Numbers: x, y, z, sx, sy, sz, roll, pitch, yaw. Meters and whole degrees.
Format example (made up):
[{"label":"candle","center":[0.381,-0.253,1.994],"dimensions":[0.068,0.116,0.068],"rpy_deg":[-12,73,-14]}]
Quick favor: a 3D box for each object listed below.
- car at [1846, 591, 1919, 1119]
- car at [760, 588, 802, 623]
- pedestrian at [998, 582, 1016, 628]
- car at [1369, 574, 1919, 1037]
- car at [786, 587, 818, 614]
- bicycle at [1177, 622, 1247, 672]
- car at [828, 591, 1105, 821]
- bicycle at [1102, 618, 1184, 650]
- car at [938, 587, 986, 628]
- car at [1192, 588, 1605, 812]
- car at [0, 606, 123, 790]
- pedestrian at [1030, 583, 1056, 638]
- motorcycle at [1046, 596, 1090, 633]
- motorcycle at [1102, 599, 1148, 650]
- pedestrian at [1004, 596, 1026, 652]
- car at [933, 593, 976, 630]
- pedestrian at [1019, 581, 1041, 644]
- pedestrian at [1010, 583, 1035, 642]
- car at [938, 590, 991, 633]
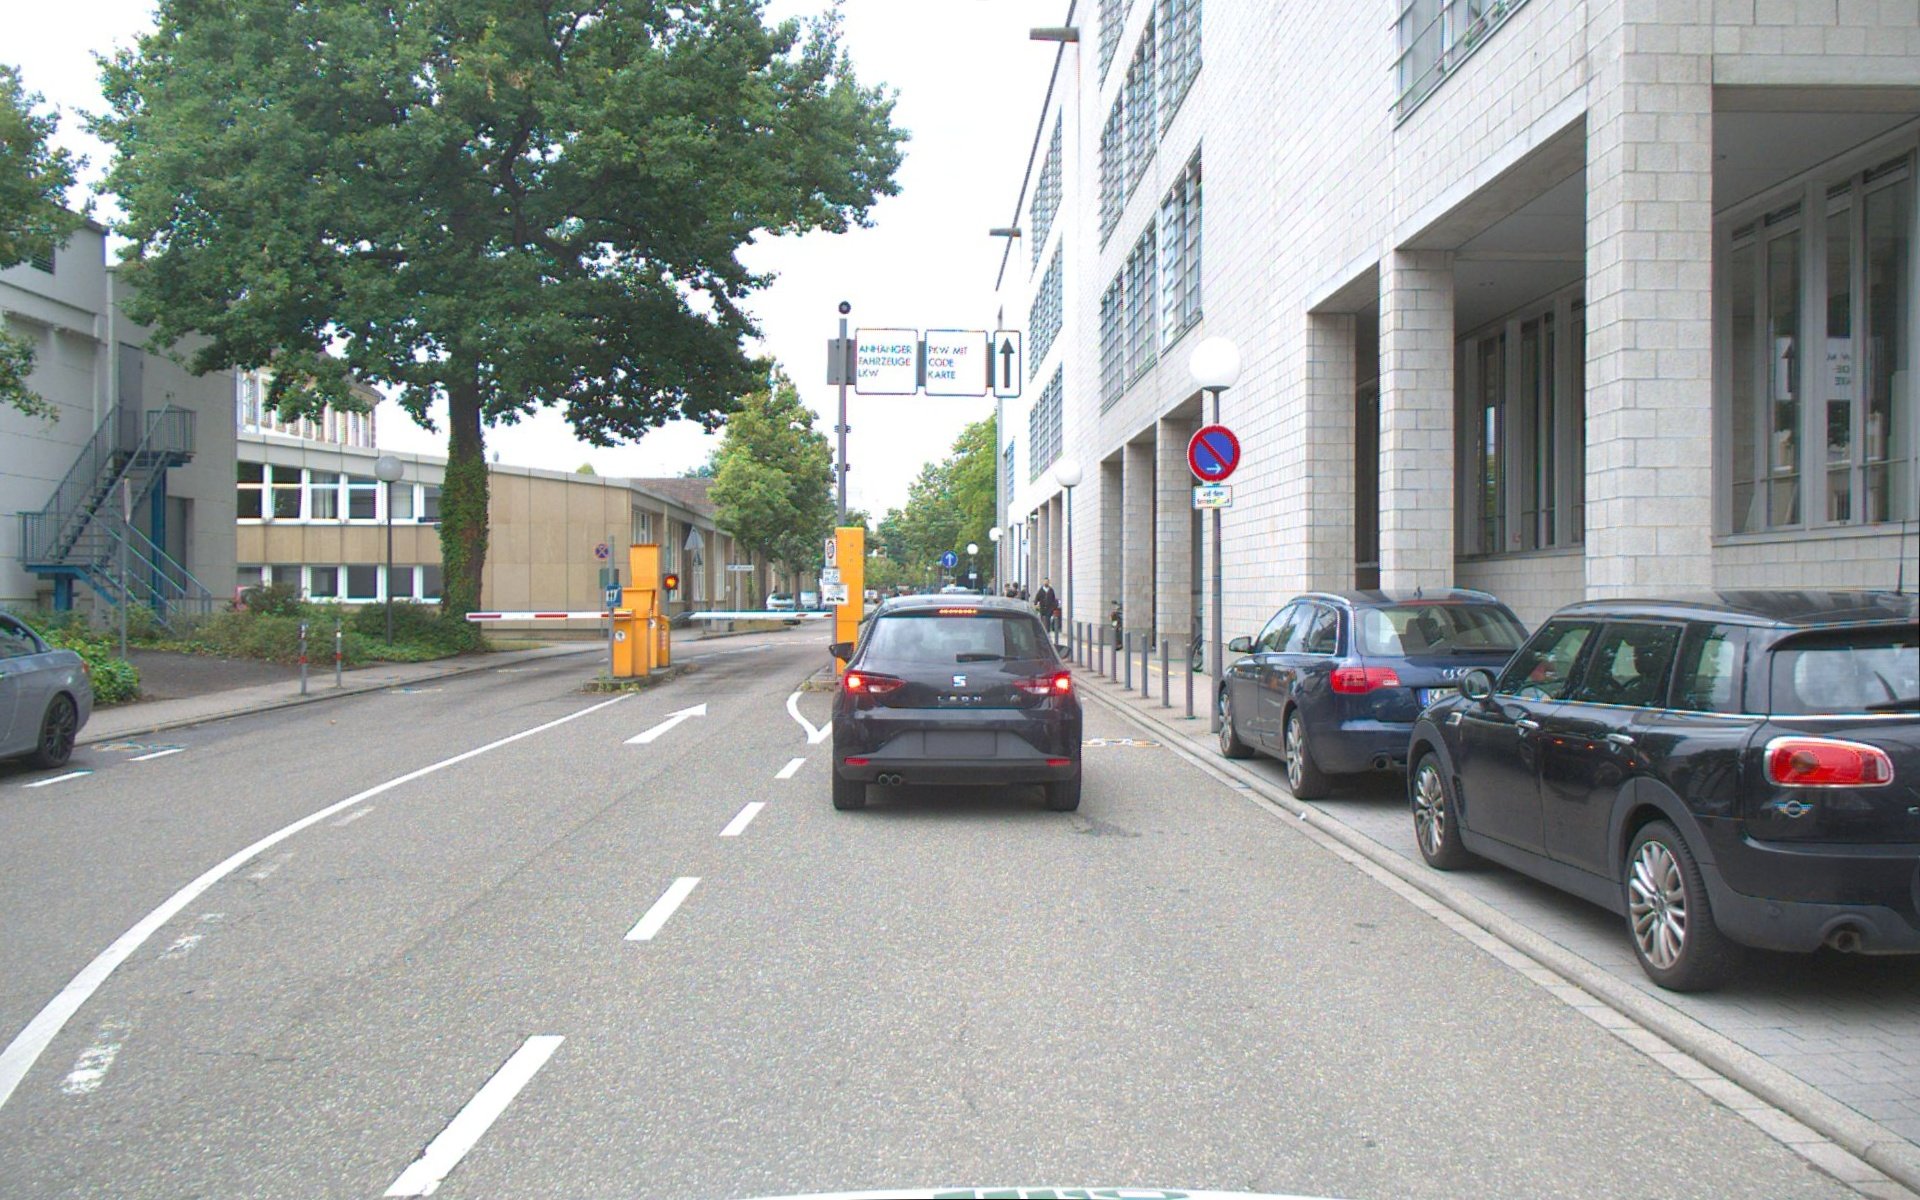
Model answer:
[{"label":"car","center":[3.602,0.774,2.795],"dimensions":[1.810,1.467,4.419],"rpy_deg":[0,2,-1]},{"label":"car","center":[-8.612,0.262,79.713],"dimensions":[1.735,1.629,3.998],"rpy_deg":[0,0,-3]},{"label":"pedestrian","center":[1.799,0.199,62.976],"dimensions":[0.682,1.744,0.489],"rpy_deg":[0,0,2]},{"label":"car","center":[3.453,0.646,7.682],"dimensions":[1.781,1.468,4.518],"rpy_deg":[-2,0,-3]},{"label":"car","center":[-9.792,0.031,102.470],"dimensions":[1.734,1.629,3.998],"rpy_deg":[0,0,-2]},{"label":"bicycle","center":[4.489,0.820,29.374],"dimensions":[0.453,0.764,2.292],"rpy_deg":[-4,-1,28]},{"label":"car","center":[-0.030,0.659,12.533],"dimensions":[1.746,1.444,4.128],"rpy_deg":[0,0,-2]},{"label":"bicycle","center":[4.367,0.816,39.480],"dimensions":[1.860,0.711,0.492],"rpy_deg":[1,2,-6]},{"label":"car","center":[0.043,0.314,72.515],"dimensions":[1.953,1.651,4.427],"rpy_deg":[-2,0,-2]},{"label":"car","center":[3.279,0.667,13.514],"dimensions":[1.953,1.477,4.921],"rpy_deg":[0,0,-2]},{"label":"car","center":[-8.413,0.778,12.977],"dimensions":[1.782,1.413,4.191],"rpy_deg":[0,0,-4]},{"label":"pedestrian","center":[2.676,0.327,53.129],"dimensions":[0.714,1.728,0.587],"rpy_deg":[1,2,-7]},{"label":"motorcycle","center":[3.877,0.509,59.235],"dimensions":[0.744,1.168,2.662],"rpy_deg":[2,3,22]},{"label":"motorcycle","center":[4.267,0.613,42.655],"dimensions":[0.554,1.168,2.217],"rpy_deg":[2,3,22]},{"label":"pedestrian","center":[1.724,0.751,52.035],"dimensions":[0.675,1.728,0.588],"rpy_deg":[1,2,1]},{"label":"car","center":[-0.307,0.562,84.120],"dimensions":[1.953,1.813,4.426],"rpy_deg":[-2,0,-2]},{"label":"pedestrian","center":[1.943,0.345,45.937],"dimensions":[0.598,1.744,0.575],"rpy_deg":[-1,0,1]},{"label":"pedestrian","center":[1.869,0.378,49.365],"dimensions":[0.683,1.744,0.489],"rpy_deg":[0,0,-5]},{"label":"car","center":[0.149,0.482,67.988],"dimensions":[1.953,1.651,4.426],"rpy_deg":[-1,0,-2]}]
